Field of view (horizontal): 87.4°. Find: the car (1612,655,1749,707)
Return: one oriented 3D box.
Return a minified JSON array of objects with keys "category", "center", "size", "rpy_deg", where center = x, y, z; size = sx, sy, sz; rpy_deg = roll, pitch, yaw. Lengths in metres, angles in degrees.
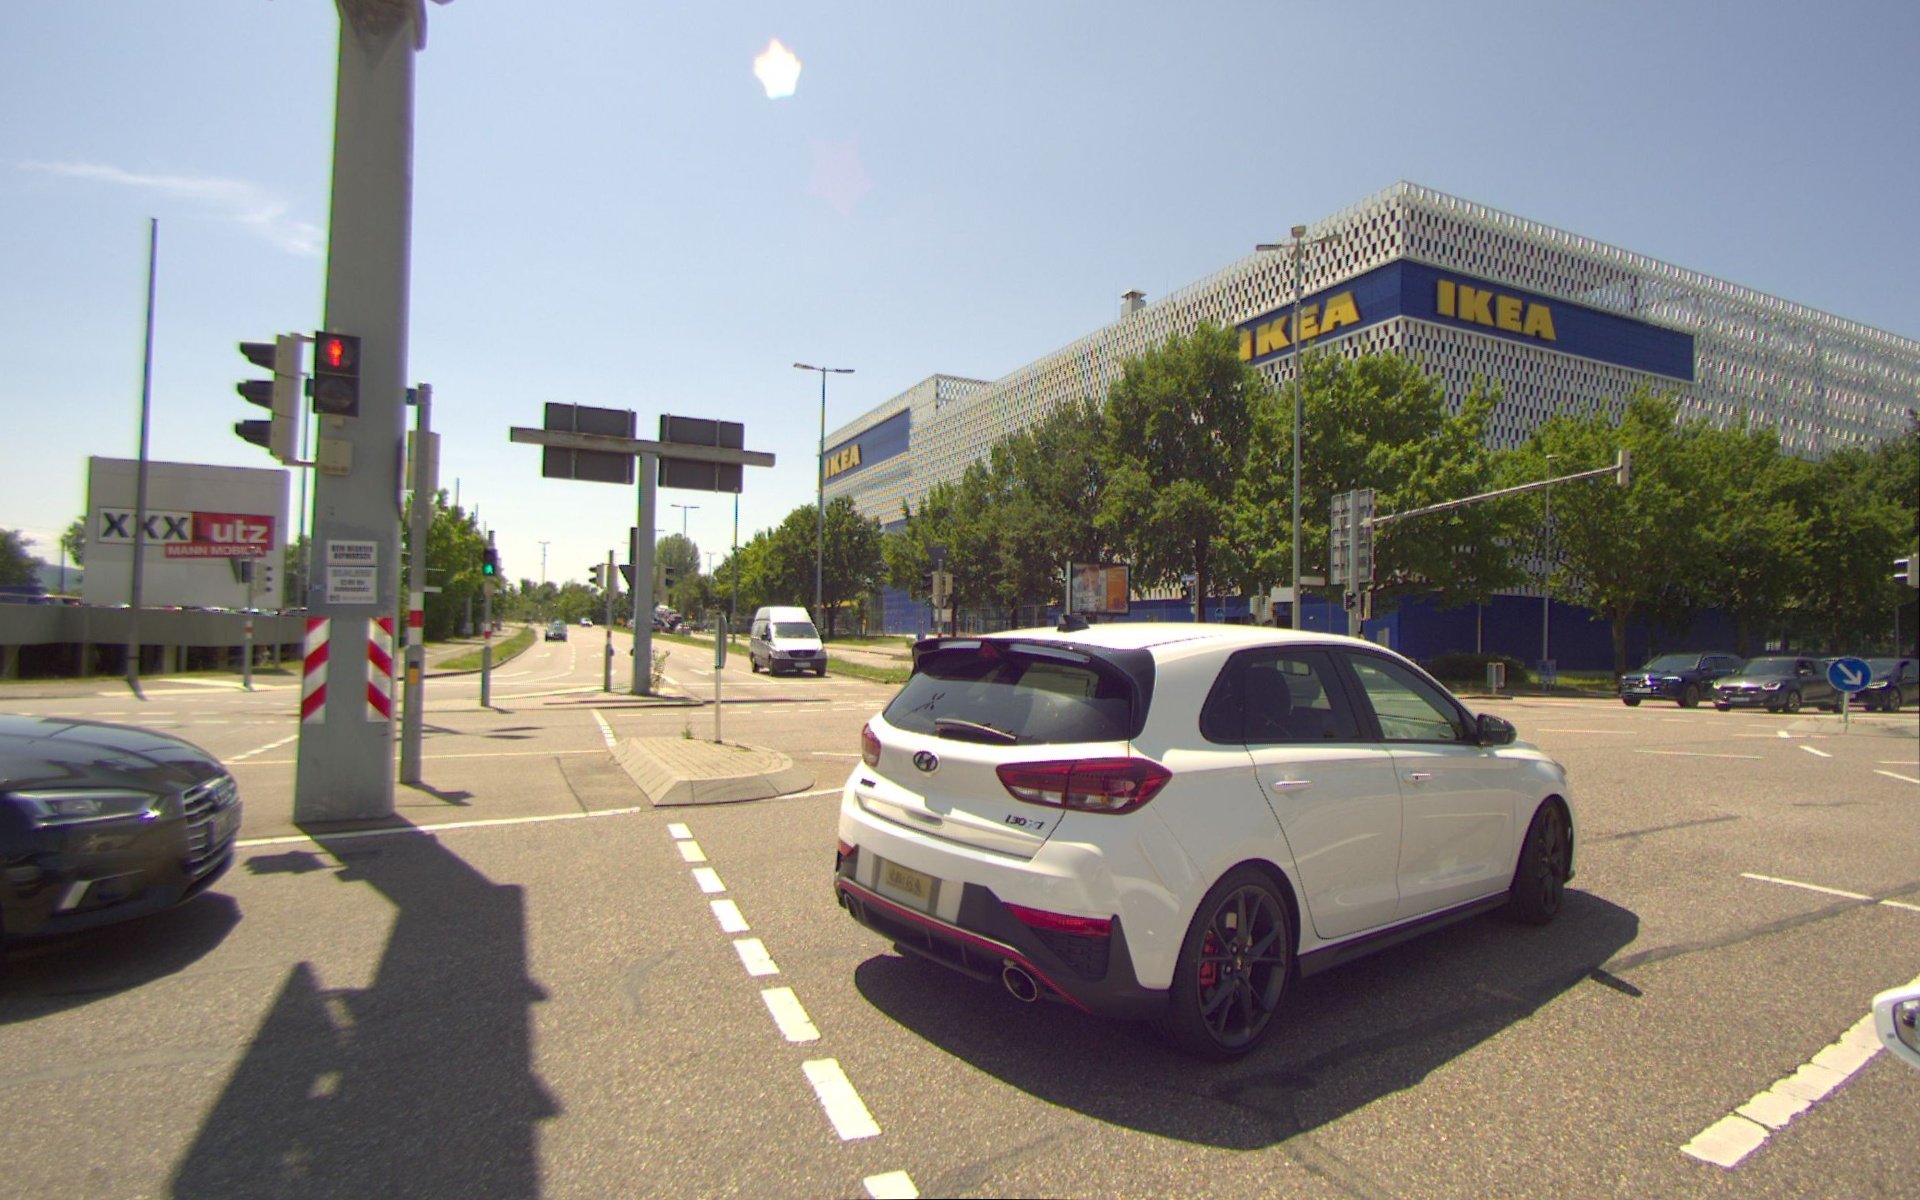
[{"category":"car","center":[21.474,2.418,29.920],"size":[3.986,1.442,1.655],"rpy_deg":[3,-3,-26]}]

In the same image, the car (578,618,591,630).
[{"category":"car","center":[-65.083,4.170,174.176],"size":[1.791,2.040,3.976],"rpy_deg":[2,-2,-24]}]

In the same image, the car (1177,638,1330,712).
[{"category":"car","center":[6.427,1.631,22.558],"size":[1.769,1.459,4.555],"rpy_deg":[1,-3,-5]}]

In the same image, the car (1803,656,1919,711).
[{"category":"car","center":[26.844,2.443,29.413],"size":[4.187,1.524,1.722],"rpy_deg":[3,-4,-26]}]

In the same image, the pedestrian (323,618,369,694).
[{"category":"pedestrian","center":[-14.987,1.365,24.523],"size":[0.815,1.807,0.602],"rpy_deg":[2,-2,-23]}]

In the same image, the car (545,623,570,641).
[{"category":"car","center":[-35.164,2.771,87.691],"size":[1.834,1.528,3.977],"rpy_deg":[2,-2,-24]}]

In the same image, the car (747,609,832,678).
[{"category":"car","center":[-6.003,1.466,34.840],"size":[1.970,2.212,5.026],"rpy_deg":[1,-2,-21]}]

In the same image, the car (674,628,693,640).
[{"category":"car","center":[-37.337,4.542,135.596],"size":[1.972,1.572,3.978],"rpy_deg":[2,-2,-23]}]

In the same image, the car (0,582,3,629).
[{"category":"car","center":[-44.054,0.140,42.786],"size":[4.278,2.040,1.985],"rpy_deg":[3,-2,-30]}]

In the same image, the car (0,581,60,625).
[{"category":"car","center":[-46.210,0.133,48.052],"size":[4.279,2.040,1.984],"rpy_deg":[3,-2,-30]}]

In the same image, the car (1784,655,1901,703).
[{"category":"car","center":[30.542,2.734,34.771],"size":[3.864,1.564,1.721],"rpy_deg":[3,-3,-26]}]

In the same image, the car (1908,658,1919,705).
[{"category":"car","center":[32.863,2.658,32.313],"size":[4.654,1.464,1.723],"rpy_deg":[3,-4,-24]}]

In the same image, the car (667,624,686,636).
[{"category":"car","center":[-40.356,4.231,142.712],"size":[1.973,1.572,3.976],"rpy_deg":[2,-2,-25]}]

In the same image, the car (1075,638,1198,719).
[{"category":"car","center":[3.369,1.478,19.842],"size":[1.664,1.441,4.010],"rpy_deg":[0,-2,-1]}]

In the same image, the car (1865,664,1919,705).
[{"category":"car","center":[35.902,3.114,37.422],"size":[4.564,1.440,1.740],"rpy_deg":[2,-4,-27]}]

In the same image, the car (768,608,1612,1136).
[{"category":"car","center":[1.326,0.827,4.776],"size":[4.035,1.455,1.774],"rpy_deg":[2,-1,-38]}]

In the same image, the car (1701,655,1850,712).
[{"category":"car","center":[21.598,2.211,26.593],"size":[3.666,1.407,1.639],"rpy_deg":[3,-4,-25]}]

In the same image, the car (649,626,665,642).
[{"category":"car","center":[-40.756,4.526,135.014],"size":[1.747,2.040,3.818],"rpy_deg":[2,-2,-22]}]

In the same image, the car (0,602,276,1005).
[{"category":"car","center":[-5.267,0.708,3.596],"size":[4.406,1.423,1.667],"rpy_deg":[1,-2,-25]}]
